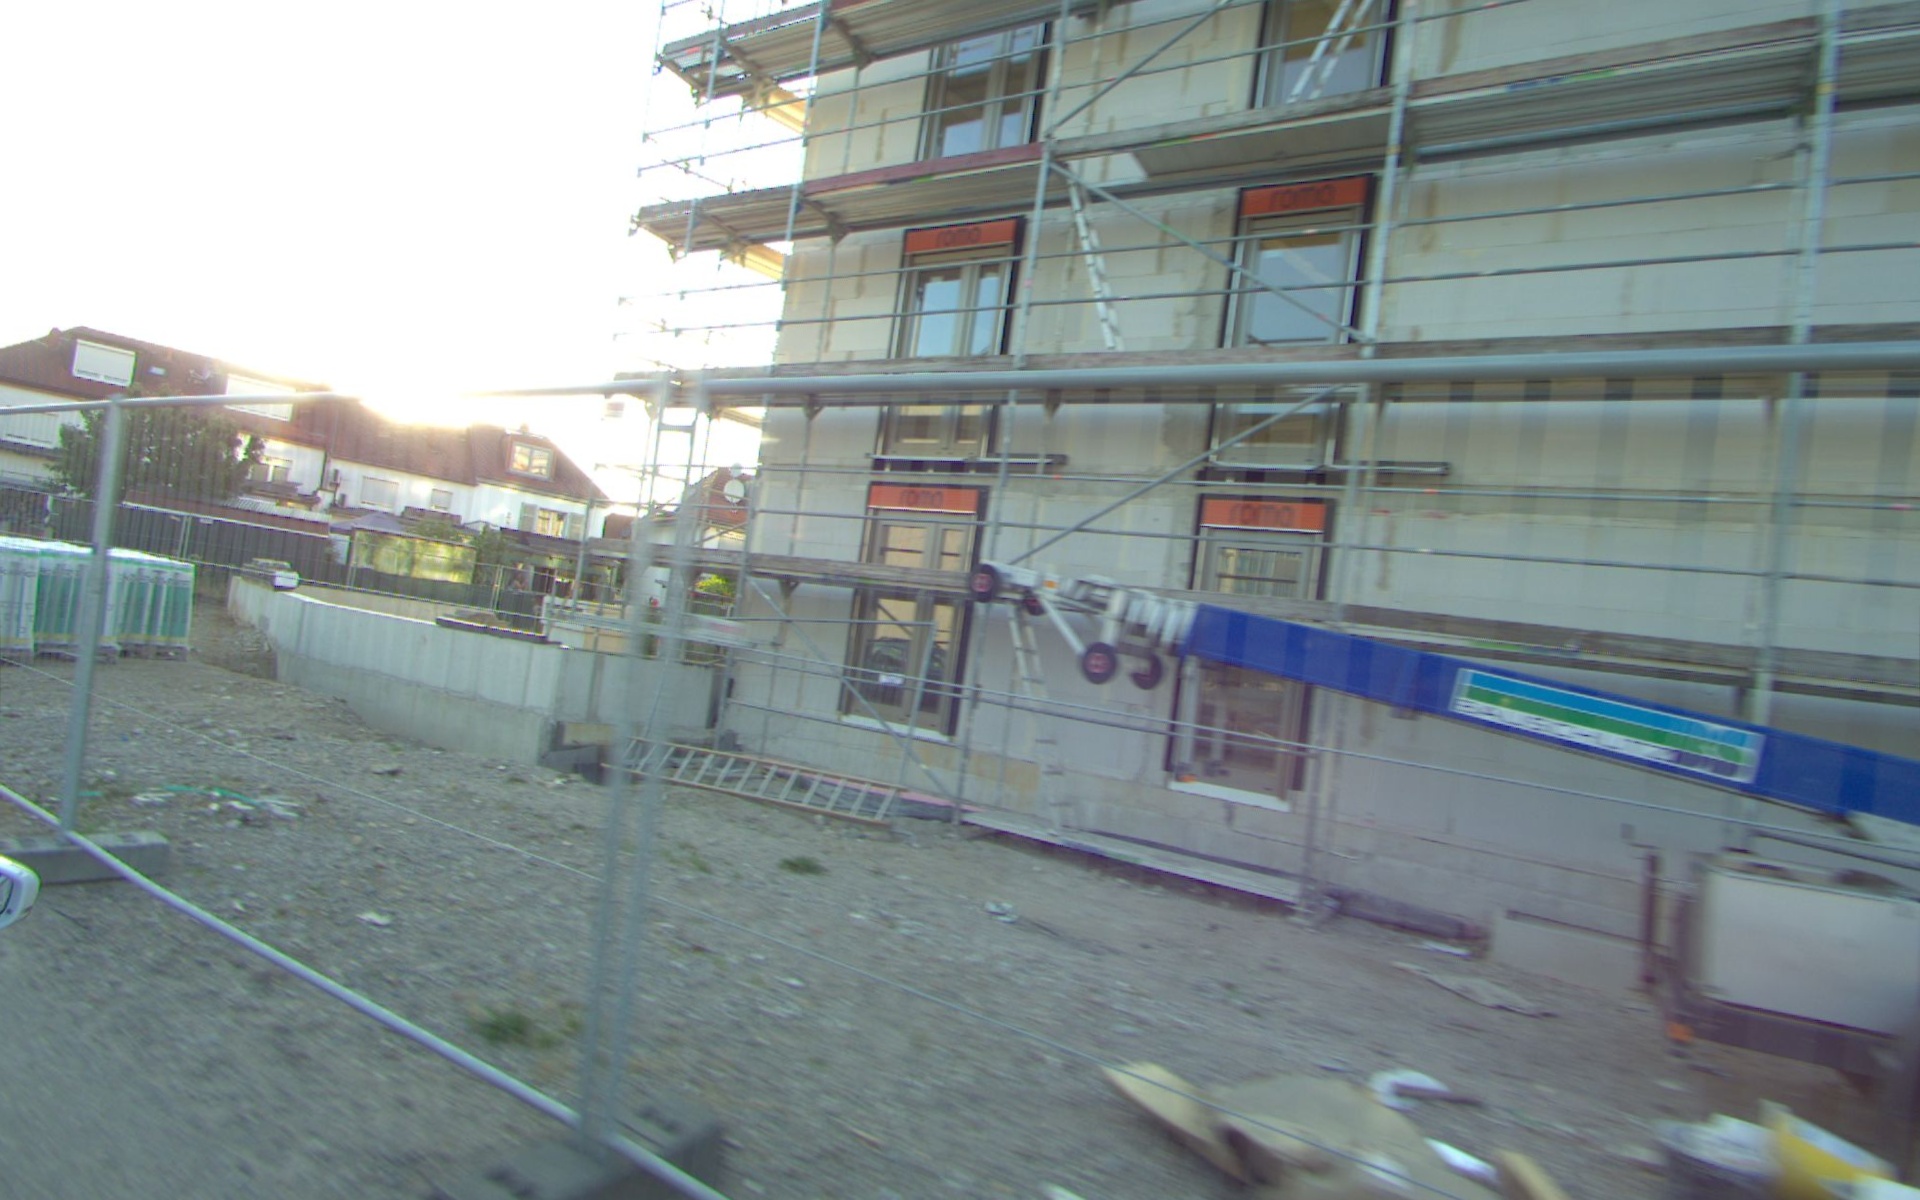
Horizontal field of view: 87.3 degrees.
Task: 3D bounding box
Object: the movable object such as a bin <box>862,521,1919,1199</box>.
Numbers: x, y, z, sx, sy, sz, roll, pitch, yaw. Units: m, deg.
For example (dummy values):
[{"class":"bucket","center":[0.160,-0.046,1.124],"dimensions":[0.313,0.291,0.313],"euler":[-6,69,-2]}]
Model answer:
[{"class":"movable object such as a bin","center":[3.449,1.101,5.114],"dimensions":[8.234,2.300,2.068],"euler":[6,-2,34]}]
